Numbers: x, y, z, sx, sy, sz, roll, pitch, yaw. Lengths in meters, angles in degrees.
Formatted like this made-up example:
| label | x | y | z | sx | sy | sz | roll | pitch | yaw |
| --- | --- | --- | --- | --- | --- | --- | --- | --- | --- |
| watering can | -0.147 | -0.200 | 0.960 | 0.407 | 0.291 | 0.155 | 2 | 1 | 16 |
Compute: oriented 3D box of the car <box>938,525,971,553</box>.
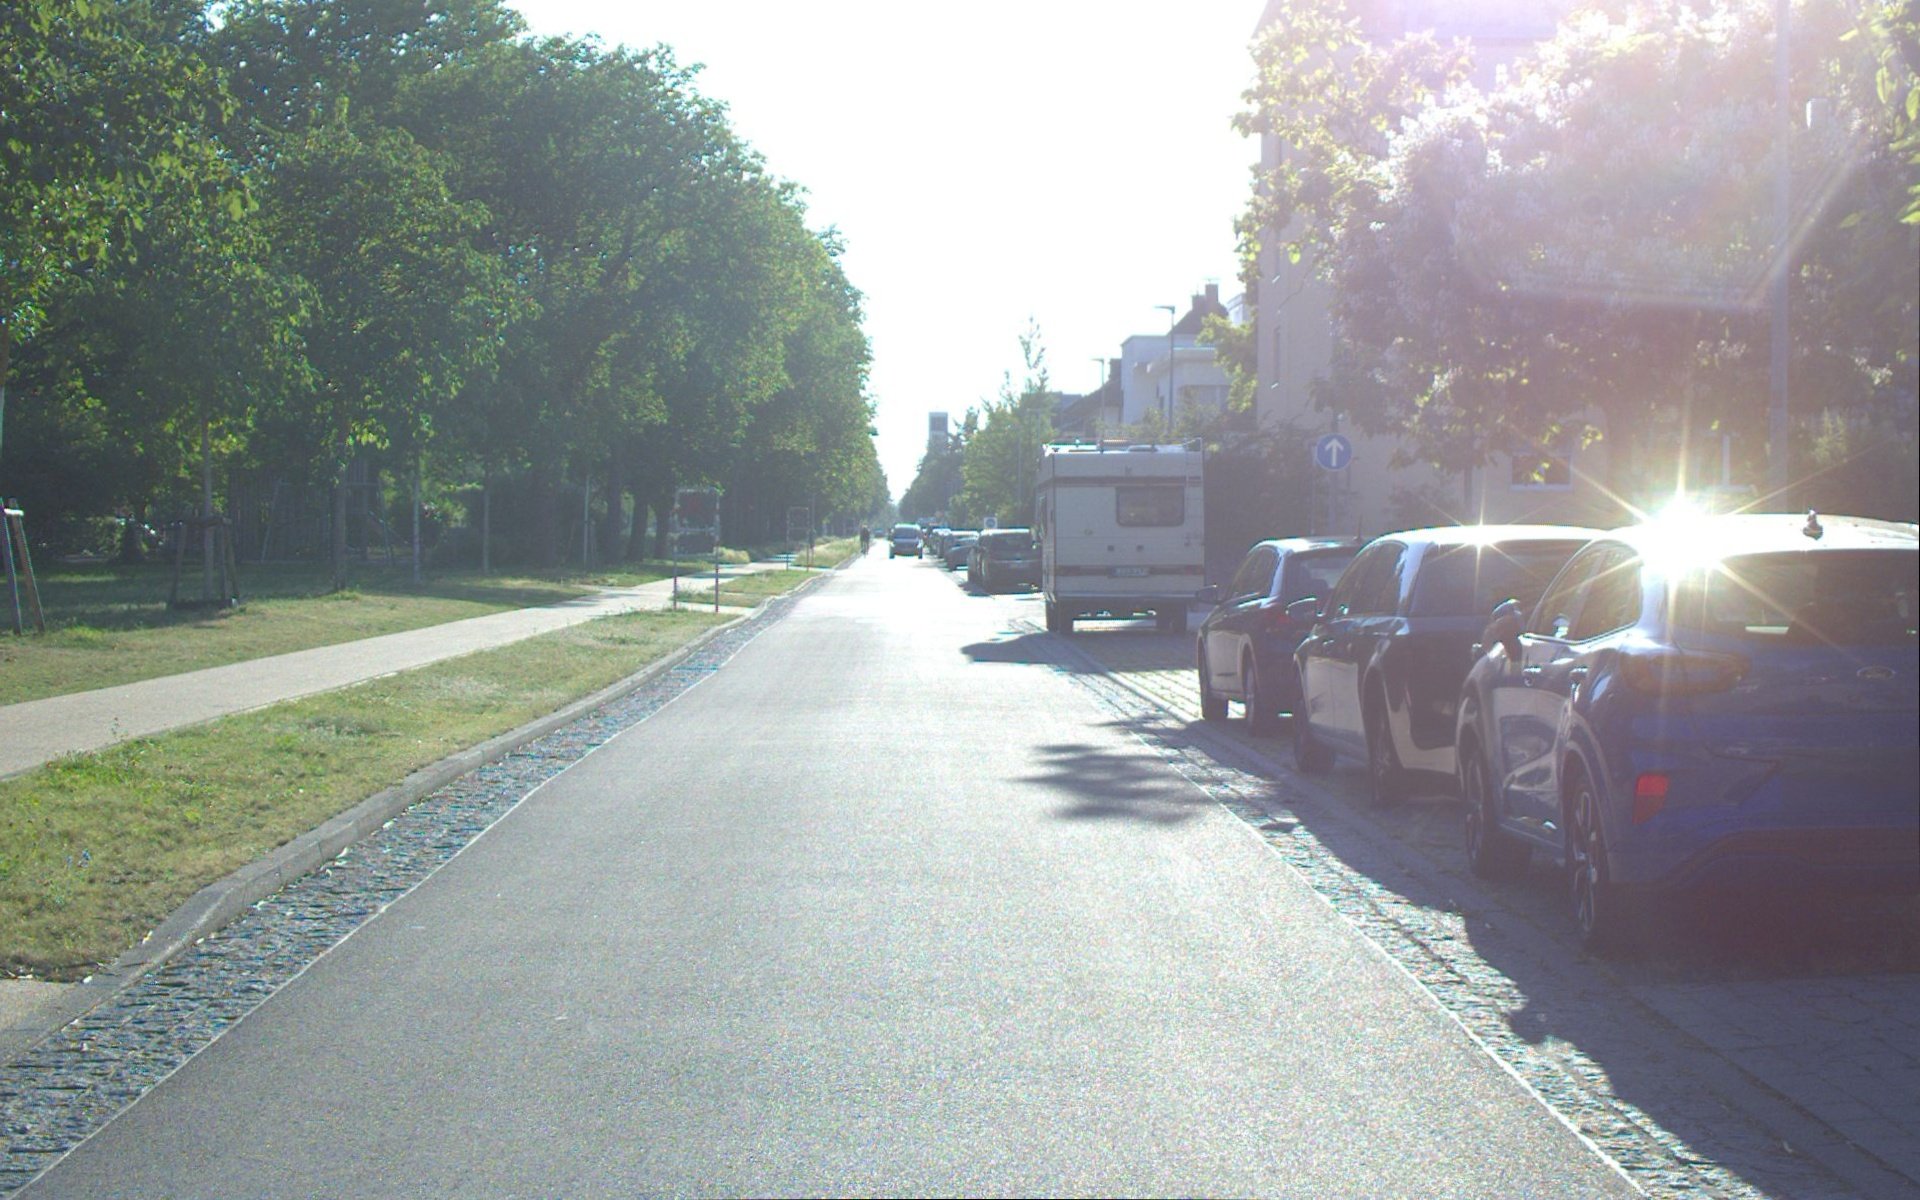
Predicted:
| label | x | y | z | sx | sy | sz | roll | pitch | yaw |
| --- | --- | --- | --- | --- | --- | --- | --- | --- | --- |
| car | -0.283 | -3.114 | 176.629 | 1.626 | 1.405 | 4.250 | 0 | 1 | -1 |

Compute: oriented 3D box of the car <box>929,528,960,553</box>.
| label | x | y | z | sx | sy | sz | roll | pitch | yaw |
| --- | --- | --- | --- | --- | --- | --- | --- | --- | --- |
| car | -0.887 | -3.341 | 192.856 | 1.626 | 1.405 | 4.250 | 0 | 1 | -1 |

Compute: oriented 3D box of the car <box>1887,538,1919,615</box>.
| label | x | y | z | sx | sy | sz | roll | pitch | yaw |
| --- | --- | --- | --- | --- | --- | --- | --- | --- | --- |
| car | 19.872 | -0.447 | 65.598 | 4.198 | 1.457 | 1.692 | 1 | 1 | 15 |

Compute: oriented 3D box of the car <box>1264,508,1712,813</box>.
| label | x | y | z | sx | sy | sz | roll | pitch | yaw |
| --- | --- | --- | --- | --- | --- | --- | --- | --- | --- |
| car | 2.890 | 0.275 | 19.751 | 1.731 | 1.545 | 4.423 | 0 | 1 | -2 |

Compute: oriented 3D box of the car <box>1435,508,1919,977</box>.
| label | x | y | z | sx | sy | sz | roll | pitch | yaw |
| --- | --- | --- | --- | --- | --- | --- | --- | --- | --- |
| car | 3.029 | 0.440 | 13.501 | 1.732 | 1.545 | 4.276 | 0 | 1 | 0 |

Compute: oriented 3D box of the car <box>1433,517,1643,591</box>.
| label | x | y | z | sx | sy | sz | roll | pitch | yaw |
| --- | --- | --- | --- | --- | --- | --- | --- | --- | --- |
| car | 12.243 | -0.986 | 72.989 | 4.195 | 1.525 | 2.000 | 0 | 1 | 4 |

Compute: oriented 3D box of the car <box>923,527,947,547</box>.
| label | x | y | z | sx | sy | sz | roll | pitch | yaw |
| --- | --- | --- | --- | --- | --- | --- | --- | --- | --- |
| car | -1.801 | -4.460 | 245.271 | 1.626 | 1.405 | 4.250 | 0 | 1 | -1 |

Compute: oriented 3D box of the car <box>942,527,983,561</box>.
| label | x | y | z | sx | sy | sz | roll | pitch | yaw |
| --- | --- | --- | --- | --- | --- | --- | --- | --- | --- |
| car | 0.092 | -2.364 | 145.787 | 1.626 | 1.405 | 4.250 | 0 | 1 | -1 |

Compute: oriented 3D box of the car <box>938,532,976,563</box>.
| label | x | y | z | sx | sy | sz | roll | pitch | yaw |
| --- | --- | --- | --- | --- | --- | --- | --- | --- | --- |
| car | -0.158 | -2.405 | 157.454 | 1.626 | 1.405 | 4.250 | 0 | 1 | -1 |

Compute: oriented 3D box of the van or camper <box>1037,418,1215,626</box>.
| label | x | y | z | sx | sy | sz | roll | pitch | yaw |
| --- | --- | --- | --- | --- | --- | --- | --- | --- | --- |
| van or camper | 2.393 | -1.098 | 51.034 | 2.234 | 2.894 | 5.673 | 0 | 0 | -1 |

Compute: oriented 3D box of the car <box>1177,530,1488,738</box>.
| label | x | y | z | sx | sy | sz | roll | pitch | yaw |
| --- | --- | --- | --- | --- | --- | --- | --- | --- | --- |
| car | 2.761 | 0.209 | 26.334 | 1.626 | 1.459 | 4.250 | 0 | 1 | -4 |

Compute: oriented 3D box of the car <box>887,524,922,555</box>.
| label | x | y | z | sx | sy | sz | roll | pitch | yaw |
| --- | --- | --- | --- | --- | --- | --- | --- | --- | --- |
| car | -3.021 | -3.259 | 186.541 | 1.825 | 1.663 | 4.250 | 0 | 1 | -1 |

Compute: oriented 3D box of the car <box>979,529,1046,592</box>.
| label | x | y | z | sx | sy | sz | roll | pitch | yaw |
| --- | --- | --- | --- | --- | --- | --- | --- | --- | --- |
| car | 1.392 | -1.072 | 92.330 | 1.626 | 1.663 | 4.250 | 0 | 1 | -1 |
